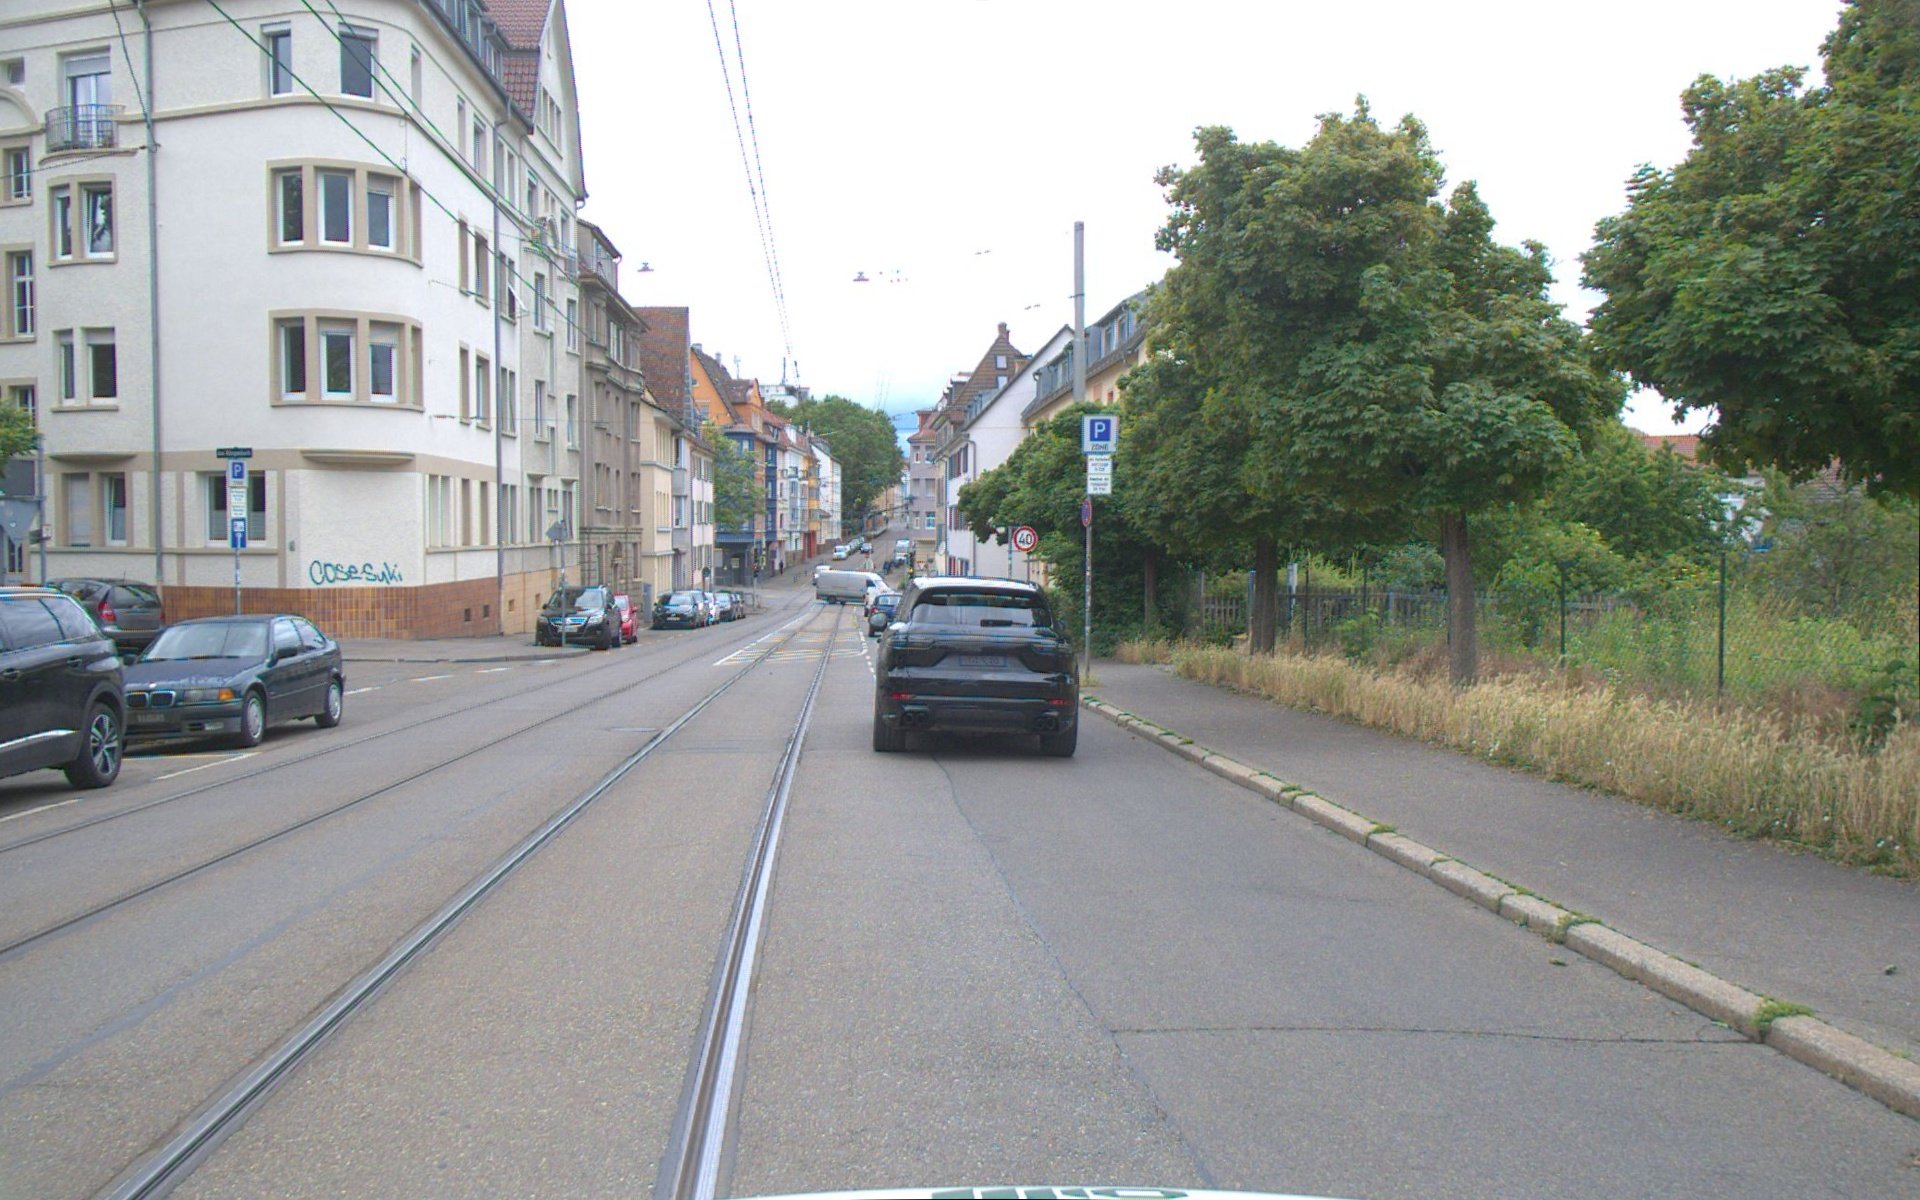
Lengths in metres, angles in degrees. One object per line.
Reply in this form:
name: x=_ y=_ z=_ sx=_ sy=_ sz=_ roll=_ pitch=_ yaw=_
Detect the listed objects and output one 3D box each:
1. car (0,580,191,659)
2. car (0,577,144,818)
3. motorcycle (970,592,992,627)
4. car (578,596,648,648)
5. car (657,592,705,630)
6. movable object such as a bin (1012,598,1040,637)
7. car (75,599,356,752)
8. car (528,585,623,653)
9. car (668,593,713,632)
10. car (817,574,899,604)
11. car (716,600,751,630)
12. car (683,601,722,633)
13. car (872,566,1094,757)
car: x=-18.572 y=0.382 z=35.203 sx=3.906 sy=1.599 sz=1.876 roll=0 pitch=0 yaw=23
car: x=-7.838 y=0.712 z=12.009 sx=1.930 sy=1.716 sz=4.439 roll=-1 pitch=-1 yaw=-5
motorcycle: x=0.902 y=0.412 z=71.846 sx=0.821 sy=1.482 sz=2.551 roll=0 pitch=0 yaw=-3
car: x=-10.355 y=0.661 z=49.570 sx=1.589 sy=1.489 sz=3.741 roll=-1 pitch=-1 yaw=-5
car: x=-11.481 y=0.477 z=68.181 sx=1.589 sy=1.489 sz=4.028 roll=-1 pitch=-1 yaw=-5
movable object such as a bin: x=2.117 y=0.568 z=52.892 sx=0.777 sy=1.239 sz=0.788 roll=0 pitch=0 yaw=-8
car: x=-8.201 y=0.783 z=18.623 sx=1.589 sy=1.503 sz=4.152 roll=-1 pitch=-1 yaw=-5
car: x=-10.148 y=0.512 z=43.910 sx=1.831 sy=1.675 sz=4.397 roll=-1 pitch=-1 yaw=-5
car: x=-11.867 y=0.575 z=72.989 sx=1.589 sy=1.632 sz=4.346 roll=-1 pitch=-1 yaw=-5
car: x=-8.088 y=-0.816 z=131.199 sx=6.155 sy=2.330 sz=2.200 roll=0 pitch=0 yaw=25
car: x=-11.953 y=0.800 z=87.475 sx=1.589 sy=1.499 sz=4.551 roll=-1 pitch=-1 yaw=-5
car: x=-12.284 y=0.822 z=78.986 sx=1.589 sy=1.489 sz=3.681 roll=-1 pitch=-1 yaw=-5
car: x=0.103 y=0.558 z=16.887 sx=1.954 sy=1.705 sz=3.997 roll=0 pitch=0 yaw=-4
